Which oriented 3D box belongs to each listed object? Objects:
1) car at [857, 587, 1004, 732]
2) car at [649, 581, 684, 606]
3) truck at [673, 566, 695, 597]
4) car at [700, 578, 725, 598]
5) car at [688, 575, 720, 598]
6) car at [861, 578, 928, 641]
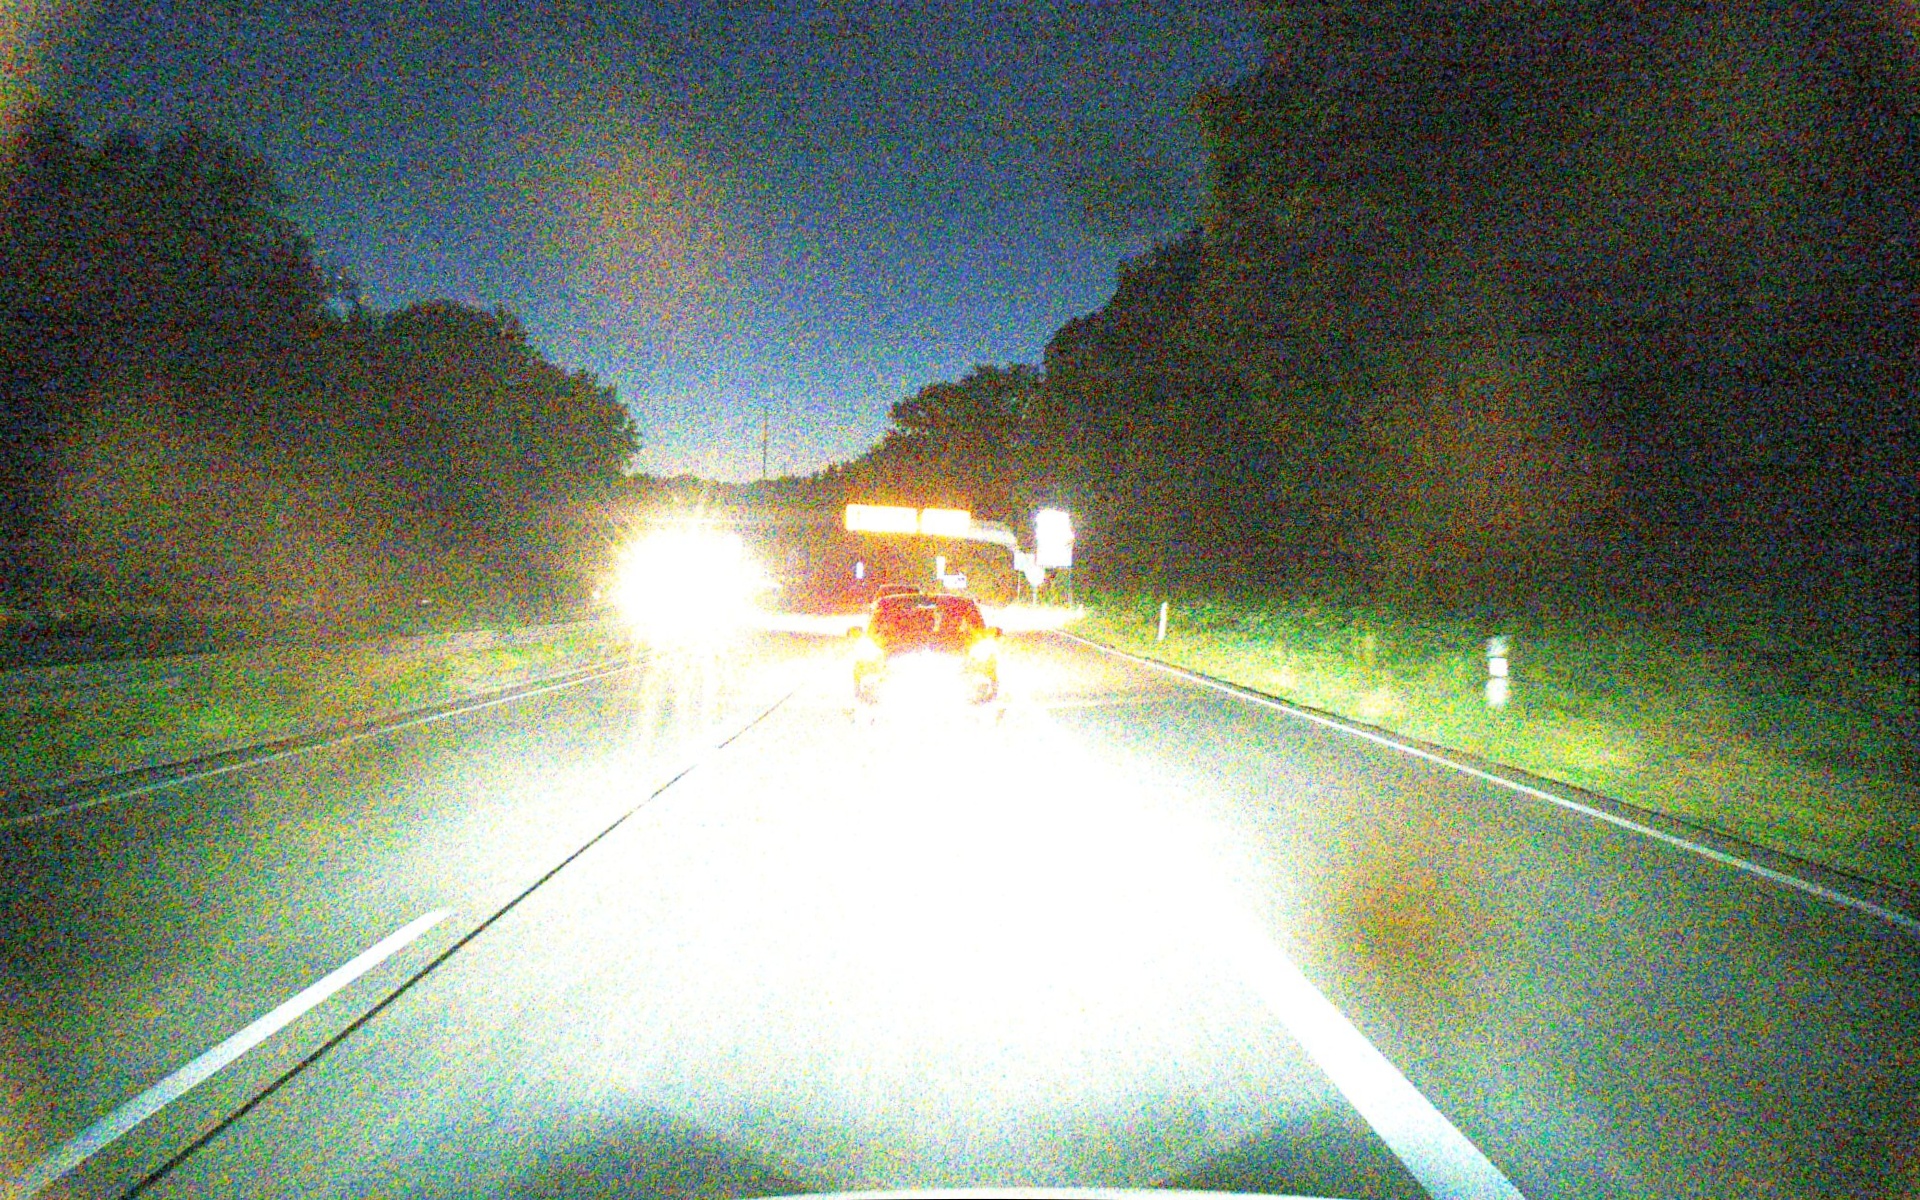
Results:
[{"bbox_3d":[-0.416,0.621,19.518,1.556,1.534,3.998,0,0,-3],"label":"car"},{"bbox_3d":[-19.272,-0.421,108.688,1.693,1.543,4.156,2,0,-3],"label":"car"},{"bbox_3d":[-39.988,-2.676,239.570,2.580,4.306,8.570,4,0,-12],"label":"truck"},{"bbox_3d":[-26.050,-1.243,174.162,2.316,2.049,5.026,2,0,-6],"label":"car"},{"bbox_3d":[-20.521,-1.084,132.726,1.928,1.794,5.030,2,0,-3],"label":"car"},{"bbox_3d":[-1.978,0.243,50.583,1.868,1.727,3.999,3,1,-2],"label":"car"}]
